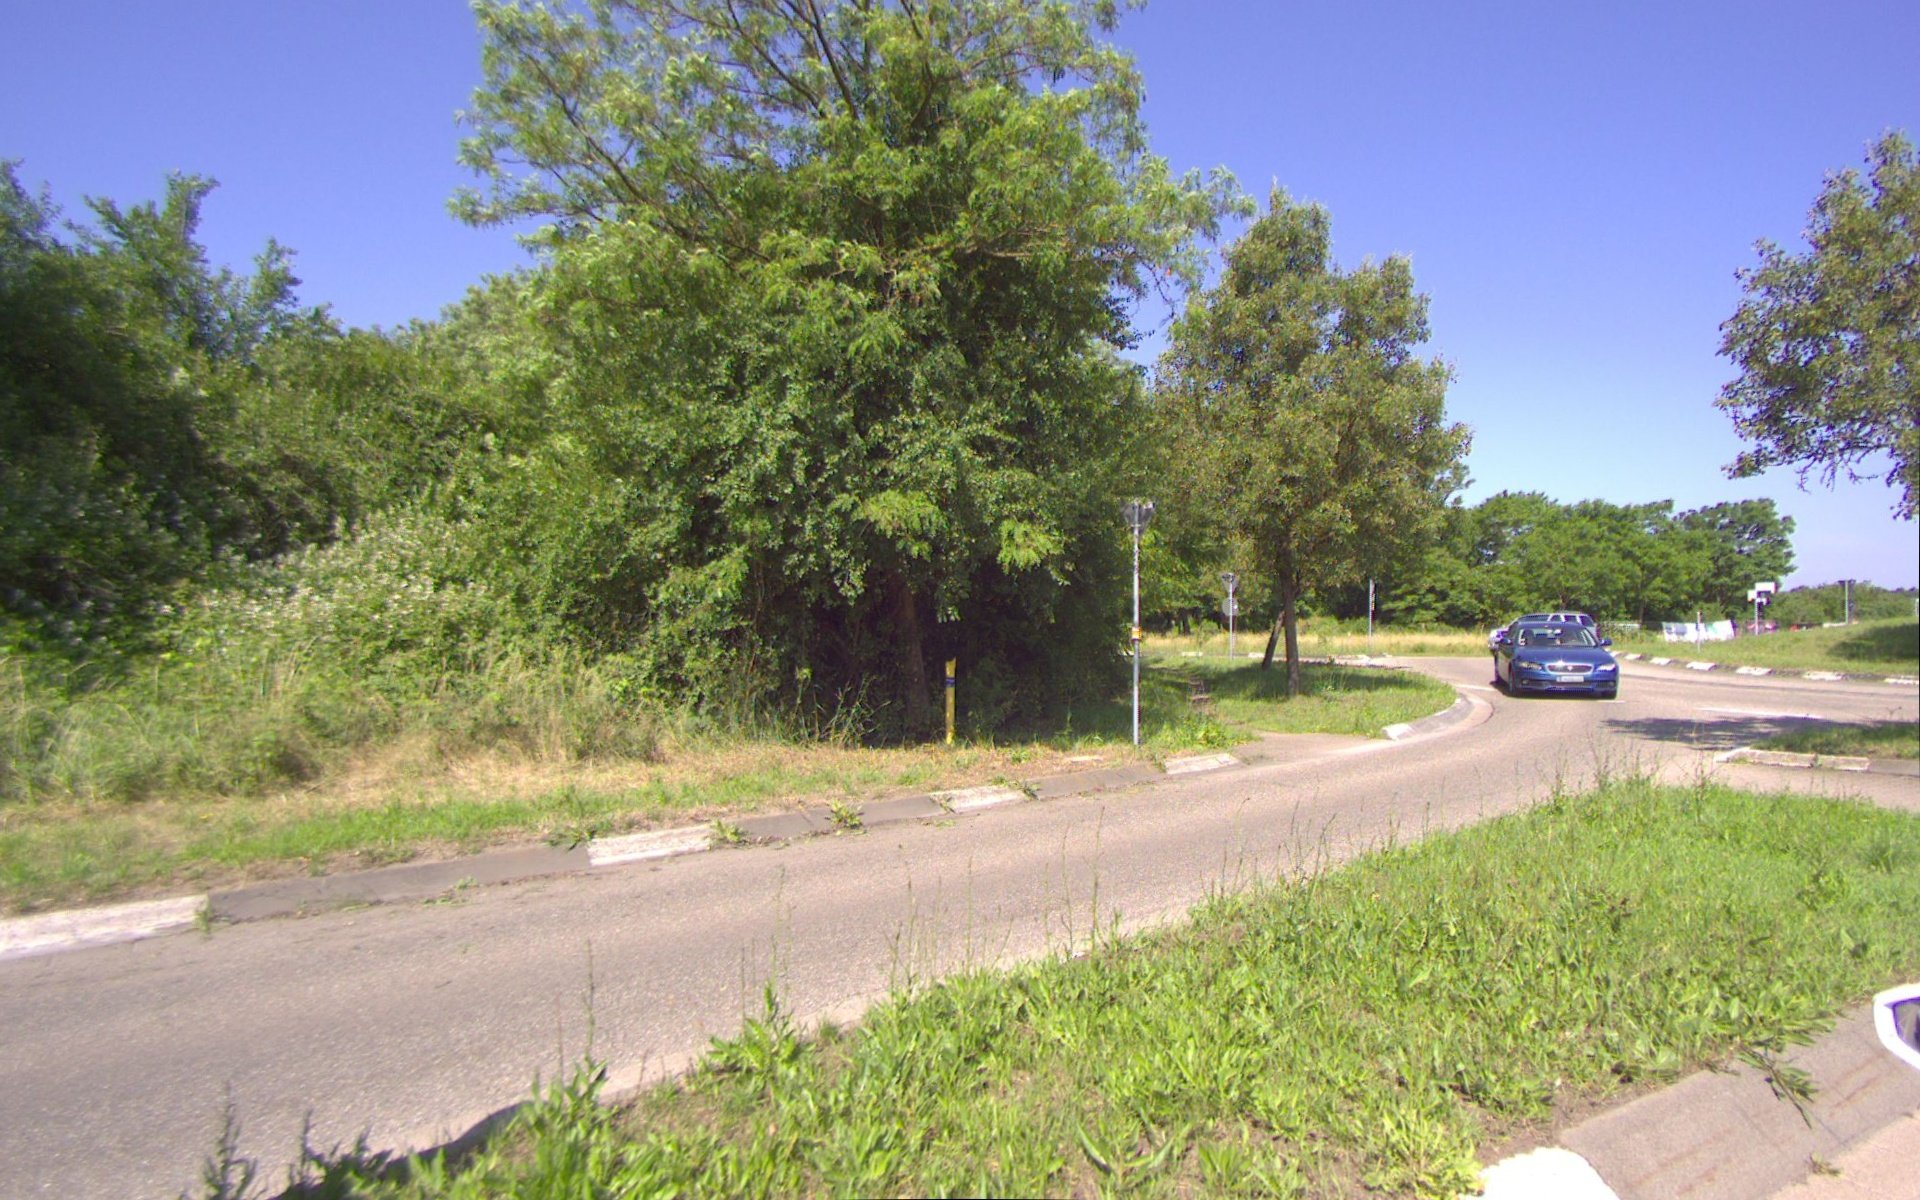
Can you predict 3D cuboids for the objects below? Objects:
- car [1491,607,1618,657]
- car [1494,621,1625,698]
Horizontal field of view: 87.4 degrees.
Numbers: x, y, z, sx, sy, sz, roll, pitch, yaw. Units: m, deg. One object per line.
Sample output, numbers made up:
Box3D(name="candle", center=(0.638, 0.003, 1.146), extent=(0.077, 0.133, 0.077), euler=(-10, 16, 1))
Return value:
Box3D(name="car", center=(22.869, 1.208, 38.644), extent=(4.529, 1.840, 1.890), euler=(1, -2, -22))
Box3D(name="car", center=(12.151, 1.146, 20.622), extent=(1.804, 1.405, 4.421), euler=(-2, -2, 25))
